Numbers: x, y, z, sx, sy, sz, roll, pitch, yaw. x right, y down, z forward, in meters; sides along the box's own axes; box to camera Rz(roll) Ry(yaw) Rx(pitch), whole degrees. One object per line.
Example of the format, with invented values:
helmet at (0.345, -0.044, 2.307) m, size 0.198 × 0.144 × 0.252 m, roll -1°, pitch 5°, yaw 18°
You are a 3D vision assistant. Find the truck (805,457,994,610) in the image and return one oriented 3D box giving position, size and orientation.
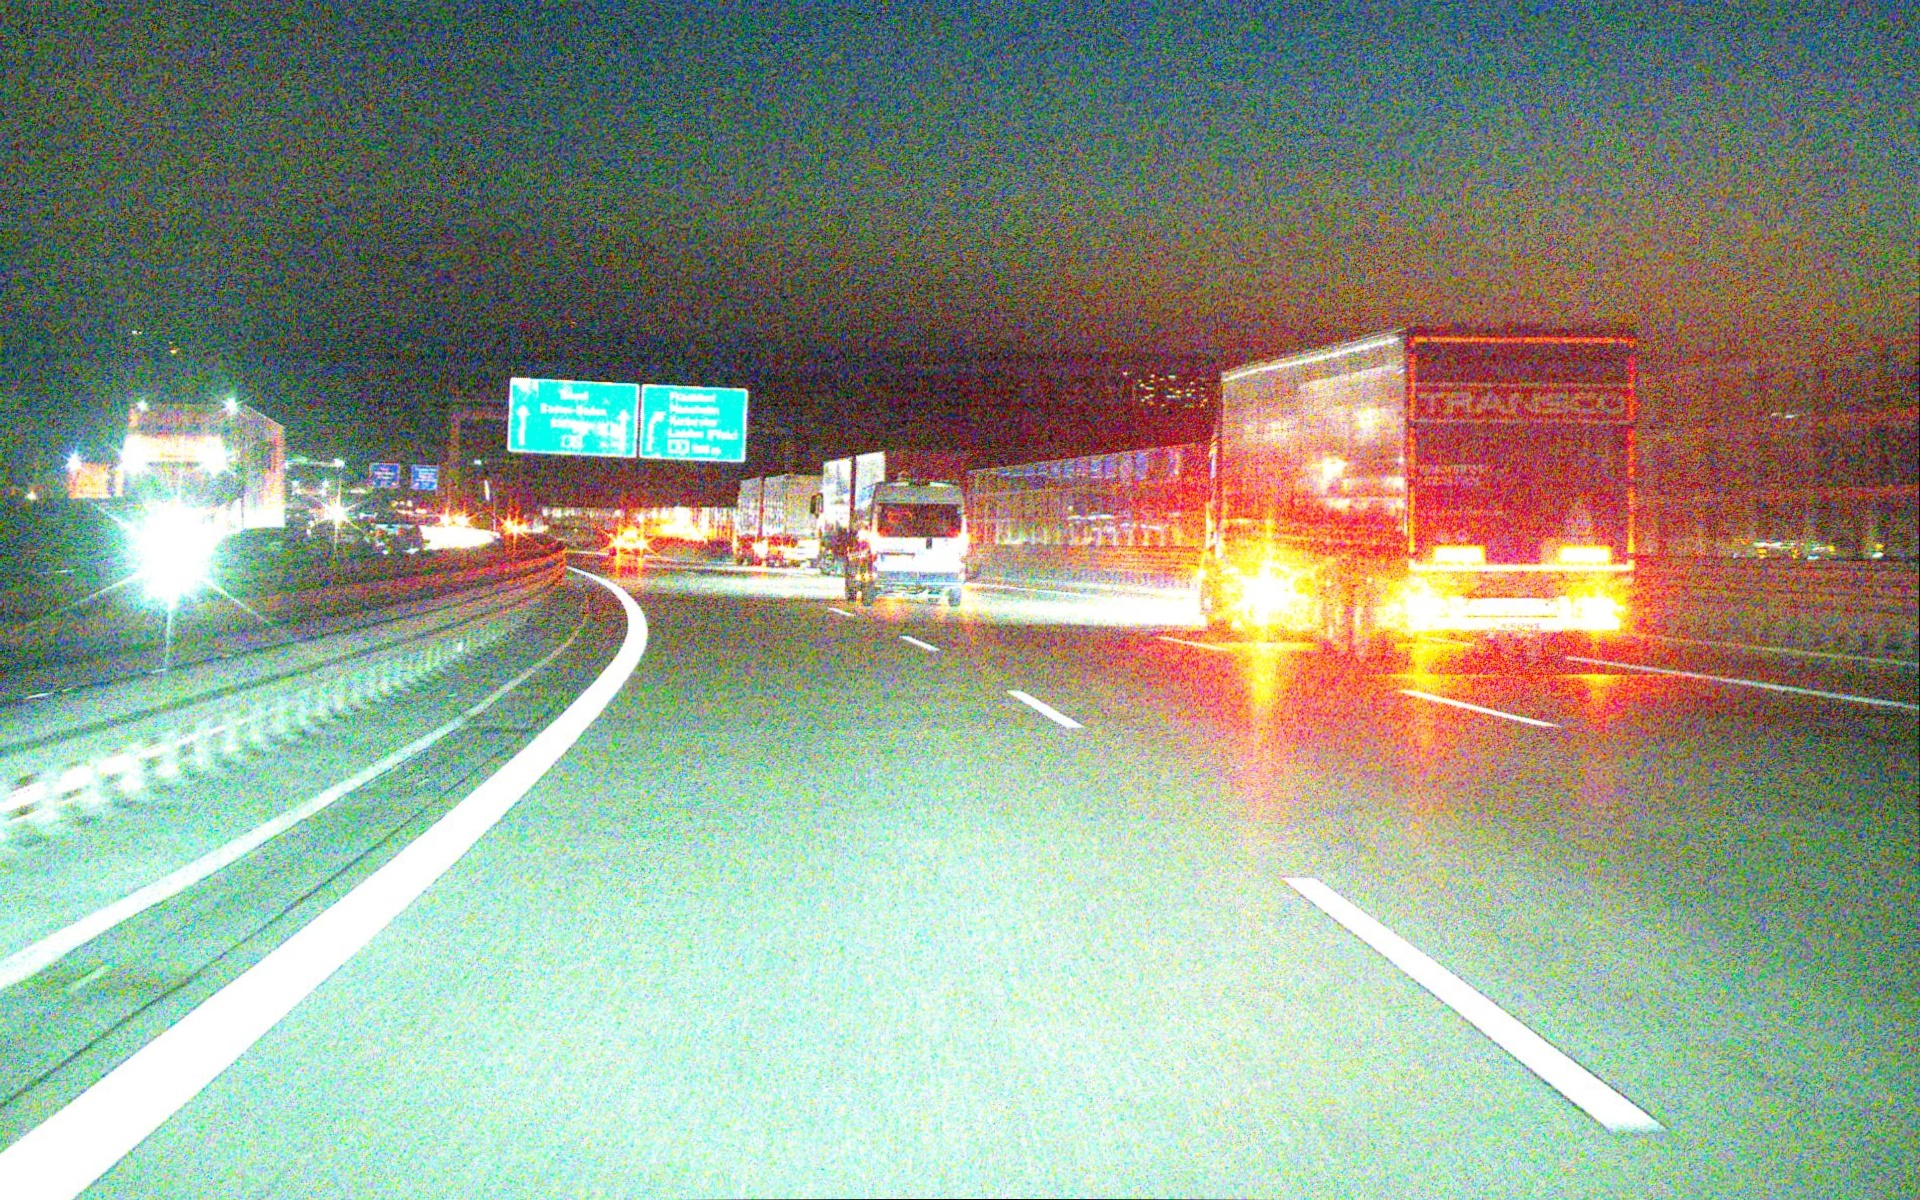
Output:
truck at (-2.307, -2.069, 114.569) m, size 3.914 × 4.611 × 21.022 m, roll 0°, pitch 0°, yaw -8°

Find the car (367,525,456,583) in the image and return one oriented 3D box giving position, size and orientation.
car at (-14.454, -1.224, 90.803) m, size 1.873 × 1.421 × 4.513 m, roll 3°, pitch 1°, yaw -4°

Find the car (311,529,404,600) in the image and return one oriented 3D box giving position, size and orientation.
car at (-12.638, -0.745, 72.298) m, size 1.702 × 1.421 × 4.514 m, roll 1°, pitch 1°, yaw -7°

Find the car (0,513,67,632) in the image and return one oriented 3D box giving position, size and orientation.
car at (-15.558, -0.458, 53.856) m, size 1.993 × 1.804 × 4.749 m, roll 1°, pitch 1°, yaw -2°

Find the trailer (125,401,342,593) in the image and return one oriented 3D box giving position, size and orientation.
trailer at (-17.778, -2.369, 85.102) m, size 3.090 × 4.074 × 12.450 m, roll 4°, pitch -1°, yaw -3°

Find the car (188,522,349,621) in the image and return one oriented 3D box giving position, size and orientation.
car at (-10.598, -0.450, 52.956) m, size 1.912 × 1.438 × 4.651 m, roll 1°, pitch 1°, yaw -5°

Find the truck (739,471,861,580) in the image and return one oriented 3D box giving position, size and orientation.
truck at (-7.321, -3.374, 155.020) m, size 3.343 × 4.460 × 13.914 m, roll 4°, pitch 1°, yaw -11°

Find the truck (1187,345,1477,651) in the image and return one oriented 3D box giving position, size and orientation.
truck at (5.247, -1.426, 49.923) m, size 2.861 × 4.063 × 7.512 m, roll 1°, pitch 1°, yaw -4°

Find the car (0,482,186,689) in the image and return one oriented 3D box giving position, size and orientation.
car at (-9.265, -0.164, 34.753) m, size 1.875 × 1.916 × 5.604 m, roll 1°, pitch 0°, yaw -3°

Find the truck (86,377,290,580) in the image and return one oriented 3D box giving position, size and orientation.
truck at (-17.385, -2.647, 77.875) m, size 3.108 × 4.083 × 7.076 m, roll 4°, pitch -1°, yaw -3°

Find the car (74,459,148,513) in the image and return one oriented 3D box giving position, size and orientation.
car at (-24.363, -3.268, 98.777) m, size 1.653 × 1.472 × 3.775 m, roll 0°, pitch 1°, yaw -7°

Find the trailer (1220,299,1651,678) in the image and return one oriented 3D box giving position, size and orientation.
trailer at (5.642, -1.315, 43.788) m, size 2.853 × 4.053 × 13.207 m, roll 1°, pitch 1°, yaw -3°

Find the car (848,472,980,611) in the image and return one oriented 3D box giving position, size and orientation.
car at (-1.000, -1.167, 71.466) m, size 2.337 × 2.631 × 5.248 m, roll 3°, pitch -1°, yaw -4°
